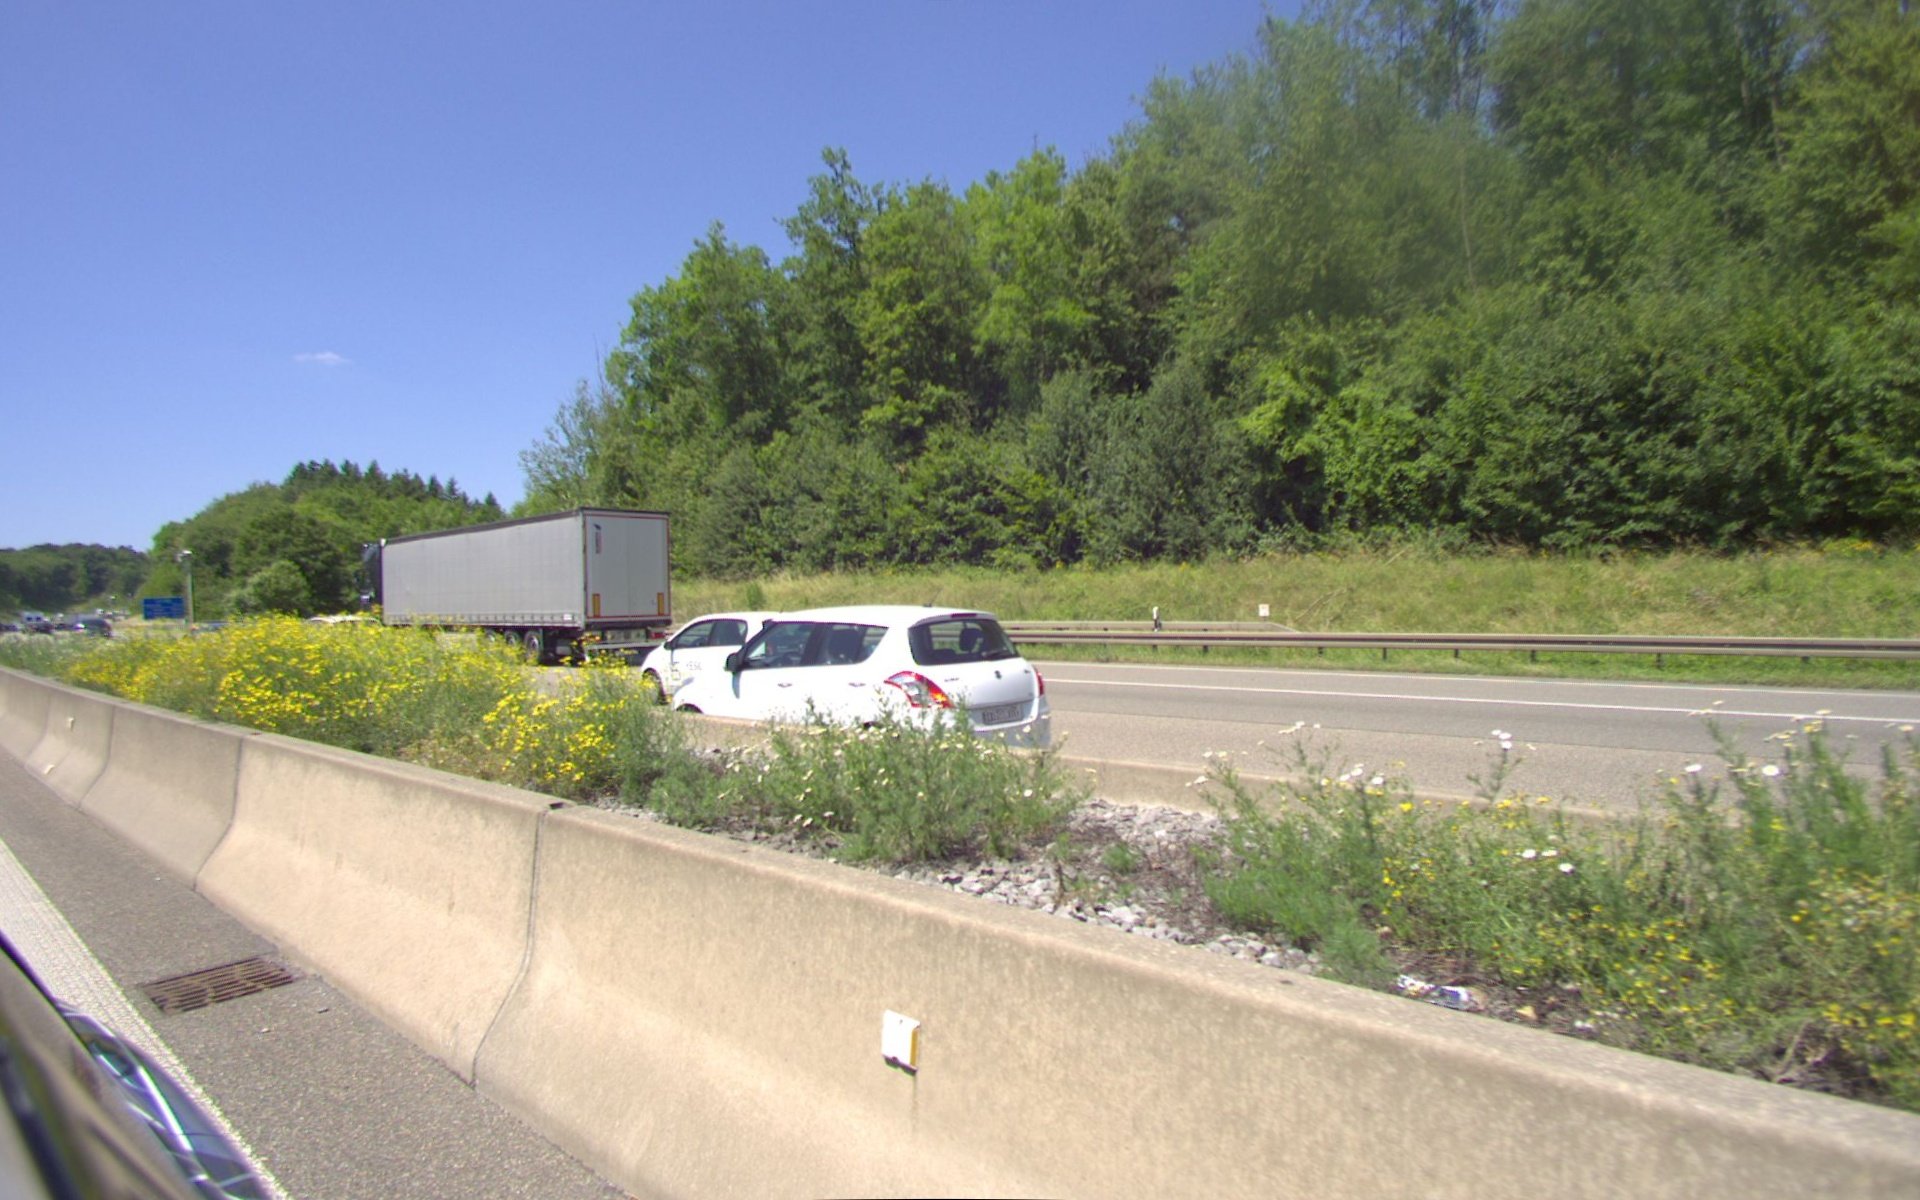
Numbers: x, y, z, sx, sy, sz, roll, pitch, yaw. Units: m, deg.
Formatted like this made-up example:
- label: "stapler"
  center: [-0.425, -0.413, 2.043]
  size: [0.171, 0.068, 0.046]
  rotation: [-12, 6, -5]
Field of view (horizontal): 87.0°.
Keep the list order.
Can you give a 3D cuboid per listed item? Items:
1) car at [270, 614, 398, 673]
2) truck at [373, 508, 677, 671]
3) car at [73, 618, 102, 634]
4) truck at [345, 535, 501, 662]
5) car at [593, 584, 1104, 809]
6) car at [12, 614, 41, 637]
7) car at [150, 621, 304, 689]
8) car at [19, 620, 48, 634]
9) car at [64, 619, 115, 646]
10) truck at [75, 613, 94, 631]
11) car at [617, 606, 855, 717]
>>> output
- label: "car"
  center: [-17.919, 1.195, 28.910]
  size: [4.246, 1.509, 1.973]
  rotation: [-1, -1, 41]
- label: "truck"
  center: [-13.566, -0.129, 30.343]
  size: [13.740, 3.968, 2.799]
  rotation: [-2, -1, 42]
- label: "car"
  center: [-90.222, 2.693, 104.666]
  size: [4.000, 1.464, 1.820]
  rotation: [-2, -1, 43]
- label: "truck"
  center: [-18.539, 0.006, 34.777]
  size: [6.004, 3.969, 2.799]
  rotation: [-2, -1, 42]
- label: "car"
  center: [-1.205, 0.687, 9.069]
  size: [4.656, 1.514, 1.918]
  rotation: [-1, -1, 41]
- label: "car"
  center: [-115.580, 3.098, 125.218]
  size: [6.062, 2.722, 2.191]
  rotation: [-1, 0, 43]
- label: "car"
  center: [-16.774, 1.195, 23.094]
  size: [4.246, 1.351, 1.973]
  rotation: [-1, -1, 41]
- label: "car"
  center: [-95.963, 2.808, 104.811]
  size: [4.271, 1.412, 1.794]
  rotation: [-2, -1, 43]
- label: "car"
  center: [-56.402, 2.107, 65.567]
  size: [4.473, 1.640, 1.972]
  rotation: [-1, 0, 42]
- label: "truck"
  center: [-175.374, 4.426, 202.660]
  size: [2.703, 3.501, 7.322]
  rotation: [0, -1, -43]
- label: "car"
  center: [-3.565, 0.882, 15.777]
  size: [3.881, 1.509, 1.658]
  rotation: [-1, -1, 41]
